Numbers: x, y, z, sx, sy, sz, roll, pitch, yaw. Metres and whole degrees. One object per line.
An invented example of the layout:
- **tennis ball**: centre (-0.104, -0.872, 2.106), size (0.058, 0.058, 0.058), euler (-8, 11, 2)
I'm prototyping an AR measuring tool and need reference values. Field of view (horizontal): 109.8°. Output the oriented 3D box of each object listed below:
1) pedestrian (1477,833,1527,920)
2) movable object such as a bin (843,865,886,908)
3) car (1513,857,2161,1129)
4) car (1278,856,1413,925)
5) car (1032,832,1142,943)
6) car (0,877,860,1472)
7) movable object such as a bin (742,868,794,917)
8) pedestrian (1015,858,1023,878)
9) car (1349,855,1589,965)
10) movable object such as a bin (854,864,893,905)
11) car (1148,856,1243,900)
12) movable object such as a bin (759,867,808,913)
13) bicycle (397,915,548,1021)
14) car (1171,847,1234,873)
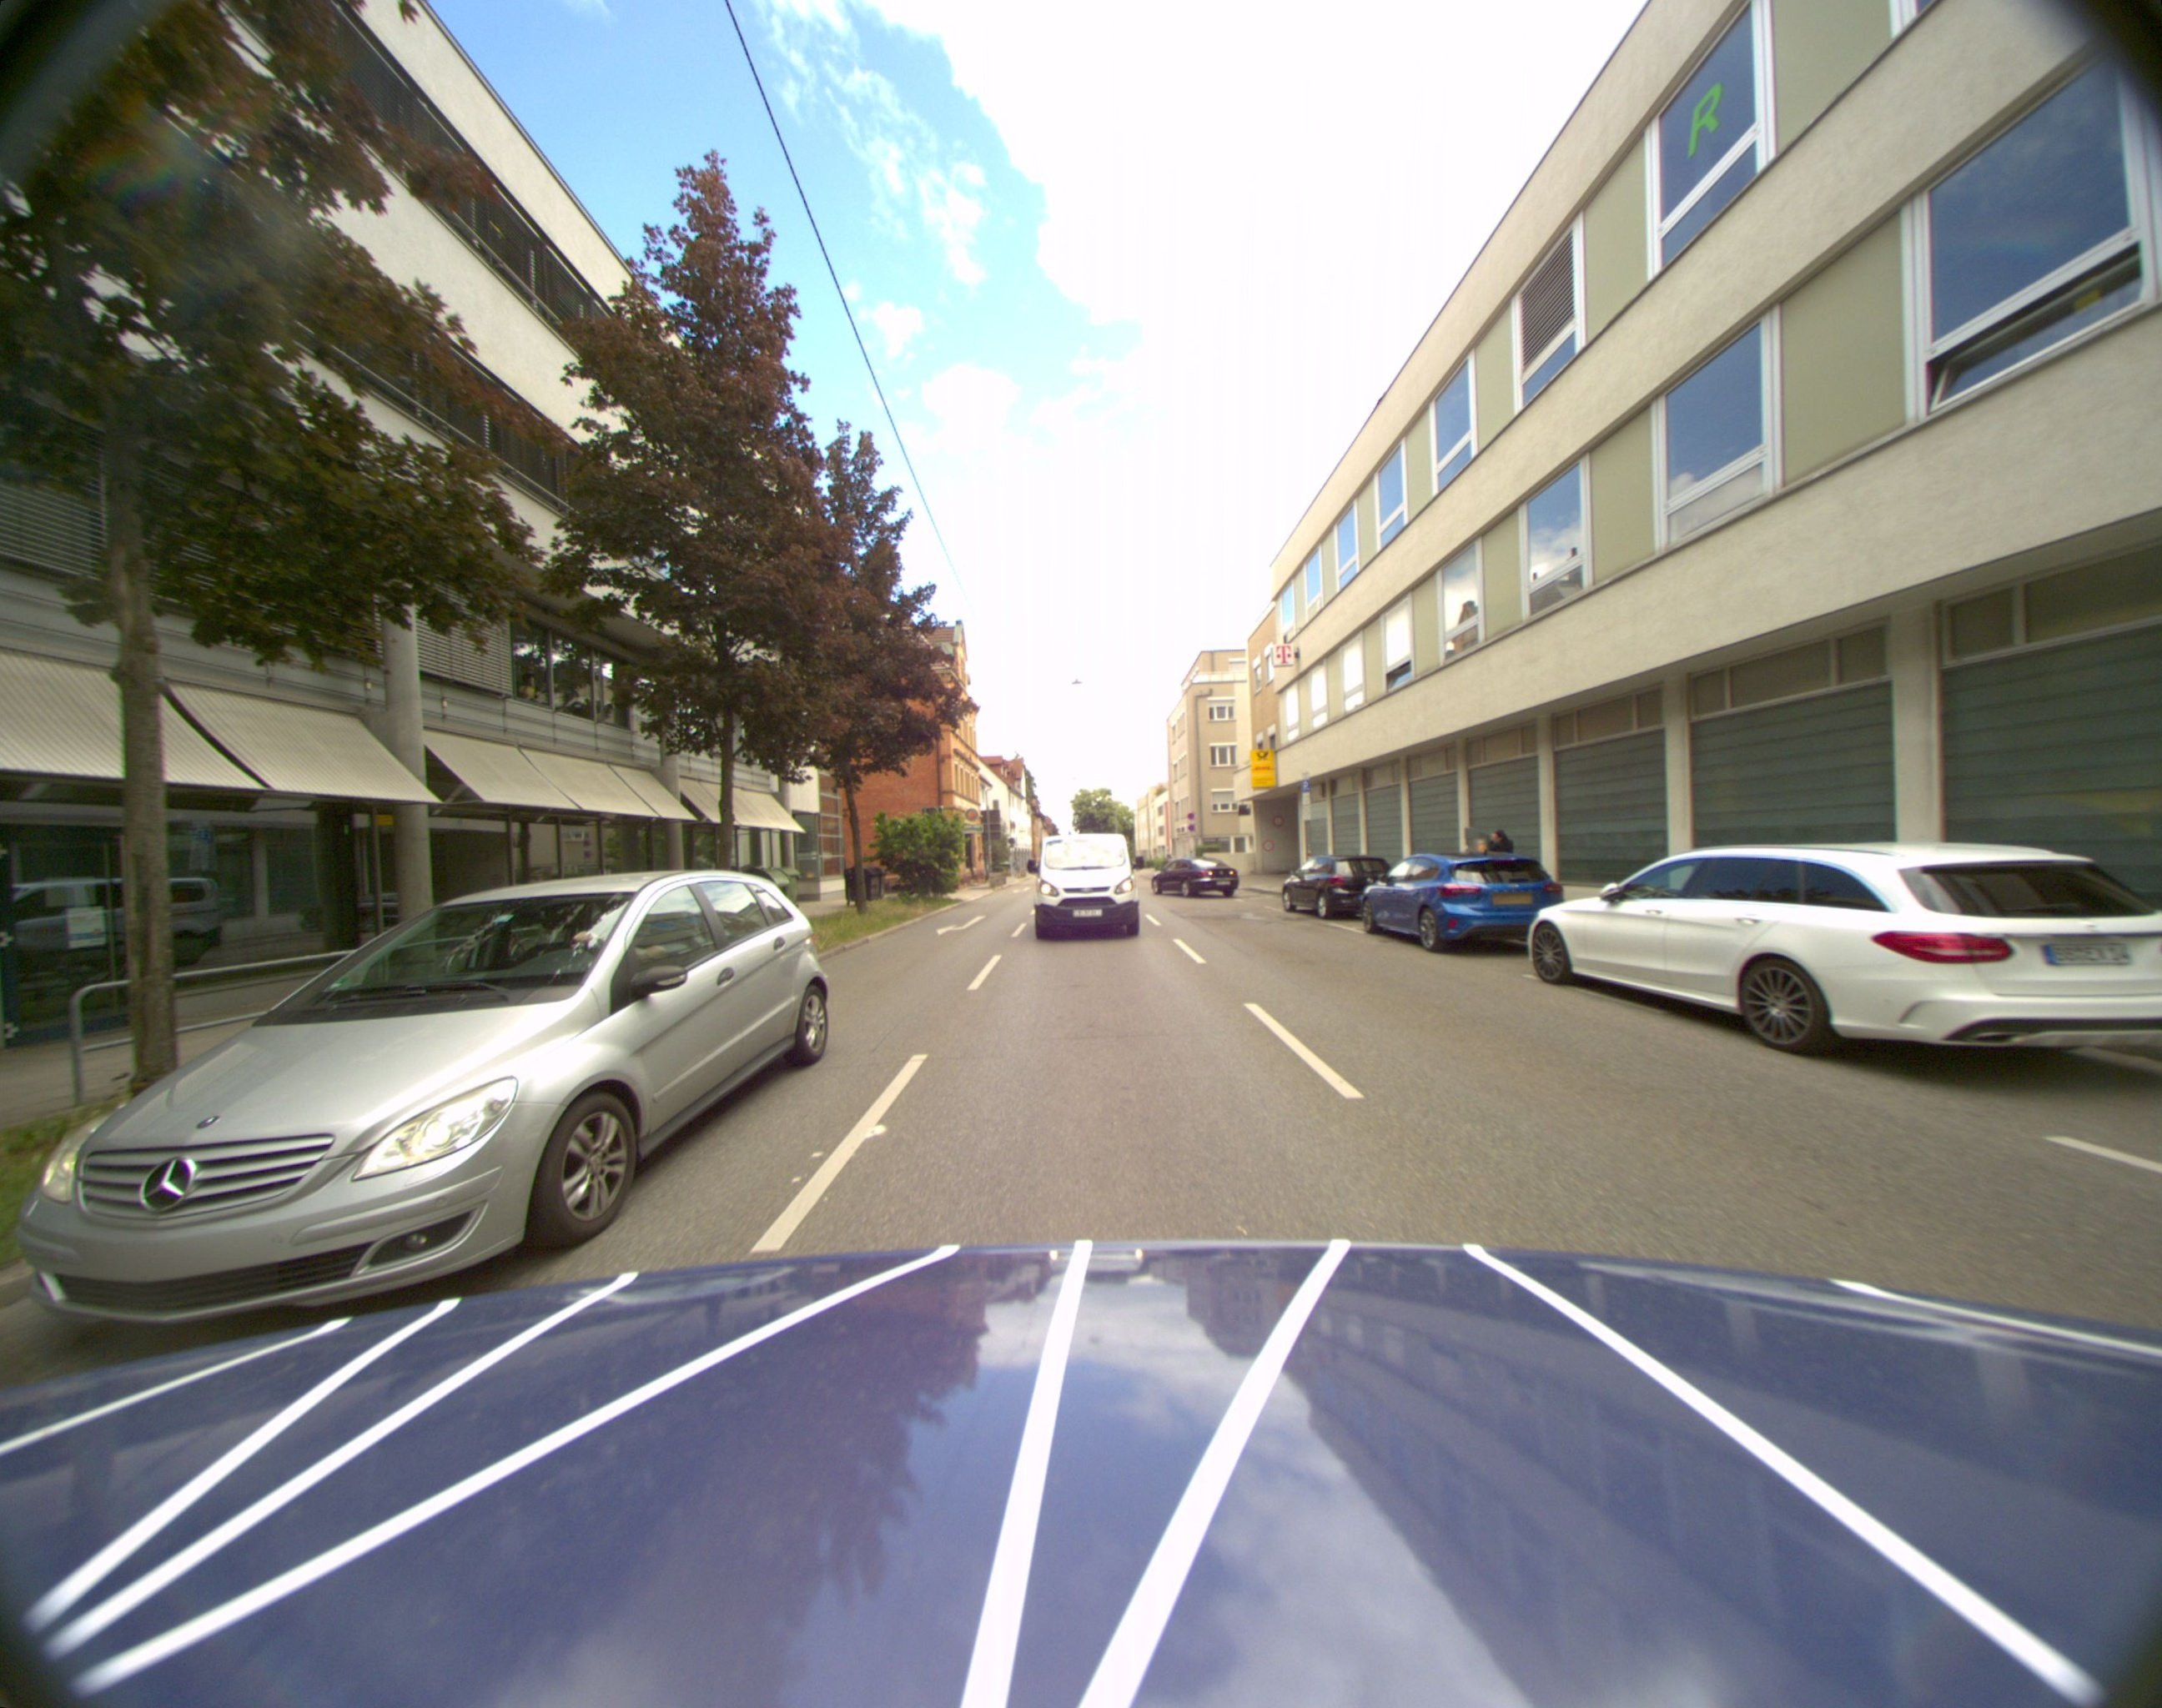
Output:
- **pedestrian**: centre (8.558, 0.442, 15.451), size (0.592, 1.708, 0.648), euler (-3, 1, -30)
- **movable object such as a bin**: centre (-7.723, 1.138, 27.172), size (1.130, 1.457, 1.412), euler (-1, 1, -2)
- **car**: centre (5.678, 0.762, 6.355), size (1.674, 1.425, 4.553), euler (-1, 0, 2)
- **car**: centre (6.039, 0.768, 17.849), size (1.721, 1.417, 3.869), euler (-1, 0, -2)
- **car**: centre (0.022, 0.626, 16.682), size (1.965, 1.986, 5.086), euler (-2, 0, -2)
- **car**: centre (-3.056, 1.066, 4.563), size (1.998, 1.537, 4.570), euler (-5, 0, 0)
- **movable object such as a bin**: centre (-9.941, 1.203, 24.223), size (1.101, 1.457, 1.332), euler (-1, 1, -2)
- **pedestrian**: centre (-5.471, 1.207, 67.082), size (0.690, 1.721, 0.649), euler (-2, 1, -2)
- **car**: centre (5.840, 0.742, 12.114), size (1.819, 1.417, 4.265), euler (-1, 0, 3)
- **movable object such as a bin**: centre (-7.780, 1.132, 28.542), size (1.101, 1.457, 1.332), euler (-1, 1, -2)
- **car**: centre (4.073, 0.808, 27.831), size (1.658, 1.390, 4.447), euler (-3, 1, -17)
- **movable object such as a bin**: centre (-9.982, 1.192, 25.583), size (1.125, 1.457, 1.332), euler (-1, 1, -2)
- **bicycle**: centre (-8.012, 1.451, 10.131), size (0.362, 1.080, 2.027), euler (-4, 1, -2)
- **car**: centre (10.281, 0.463, 64.689), size (5.083, 1.986, 1.966), euler (-2, 0, 2)
